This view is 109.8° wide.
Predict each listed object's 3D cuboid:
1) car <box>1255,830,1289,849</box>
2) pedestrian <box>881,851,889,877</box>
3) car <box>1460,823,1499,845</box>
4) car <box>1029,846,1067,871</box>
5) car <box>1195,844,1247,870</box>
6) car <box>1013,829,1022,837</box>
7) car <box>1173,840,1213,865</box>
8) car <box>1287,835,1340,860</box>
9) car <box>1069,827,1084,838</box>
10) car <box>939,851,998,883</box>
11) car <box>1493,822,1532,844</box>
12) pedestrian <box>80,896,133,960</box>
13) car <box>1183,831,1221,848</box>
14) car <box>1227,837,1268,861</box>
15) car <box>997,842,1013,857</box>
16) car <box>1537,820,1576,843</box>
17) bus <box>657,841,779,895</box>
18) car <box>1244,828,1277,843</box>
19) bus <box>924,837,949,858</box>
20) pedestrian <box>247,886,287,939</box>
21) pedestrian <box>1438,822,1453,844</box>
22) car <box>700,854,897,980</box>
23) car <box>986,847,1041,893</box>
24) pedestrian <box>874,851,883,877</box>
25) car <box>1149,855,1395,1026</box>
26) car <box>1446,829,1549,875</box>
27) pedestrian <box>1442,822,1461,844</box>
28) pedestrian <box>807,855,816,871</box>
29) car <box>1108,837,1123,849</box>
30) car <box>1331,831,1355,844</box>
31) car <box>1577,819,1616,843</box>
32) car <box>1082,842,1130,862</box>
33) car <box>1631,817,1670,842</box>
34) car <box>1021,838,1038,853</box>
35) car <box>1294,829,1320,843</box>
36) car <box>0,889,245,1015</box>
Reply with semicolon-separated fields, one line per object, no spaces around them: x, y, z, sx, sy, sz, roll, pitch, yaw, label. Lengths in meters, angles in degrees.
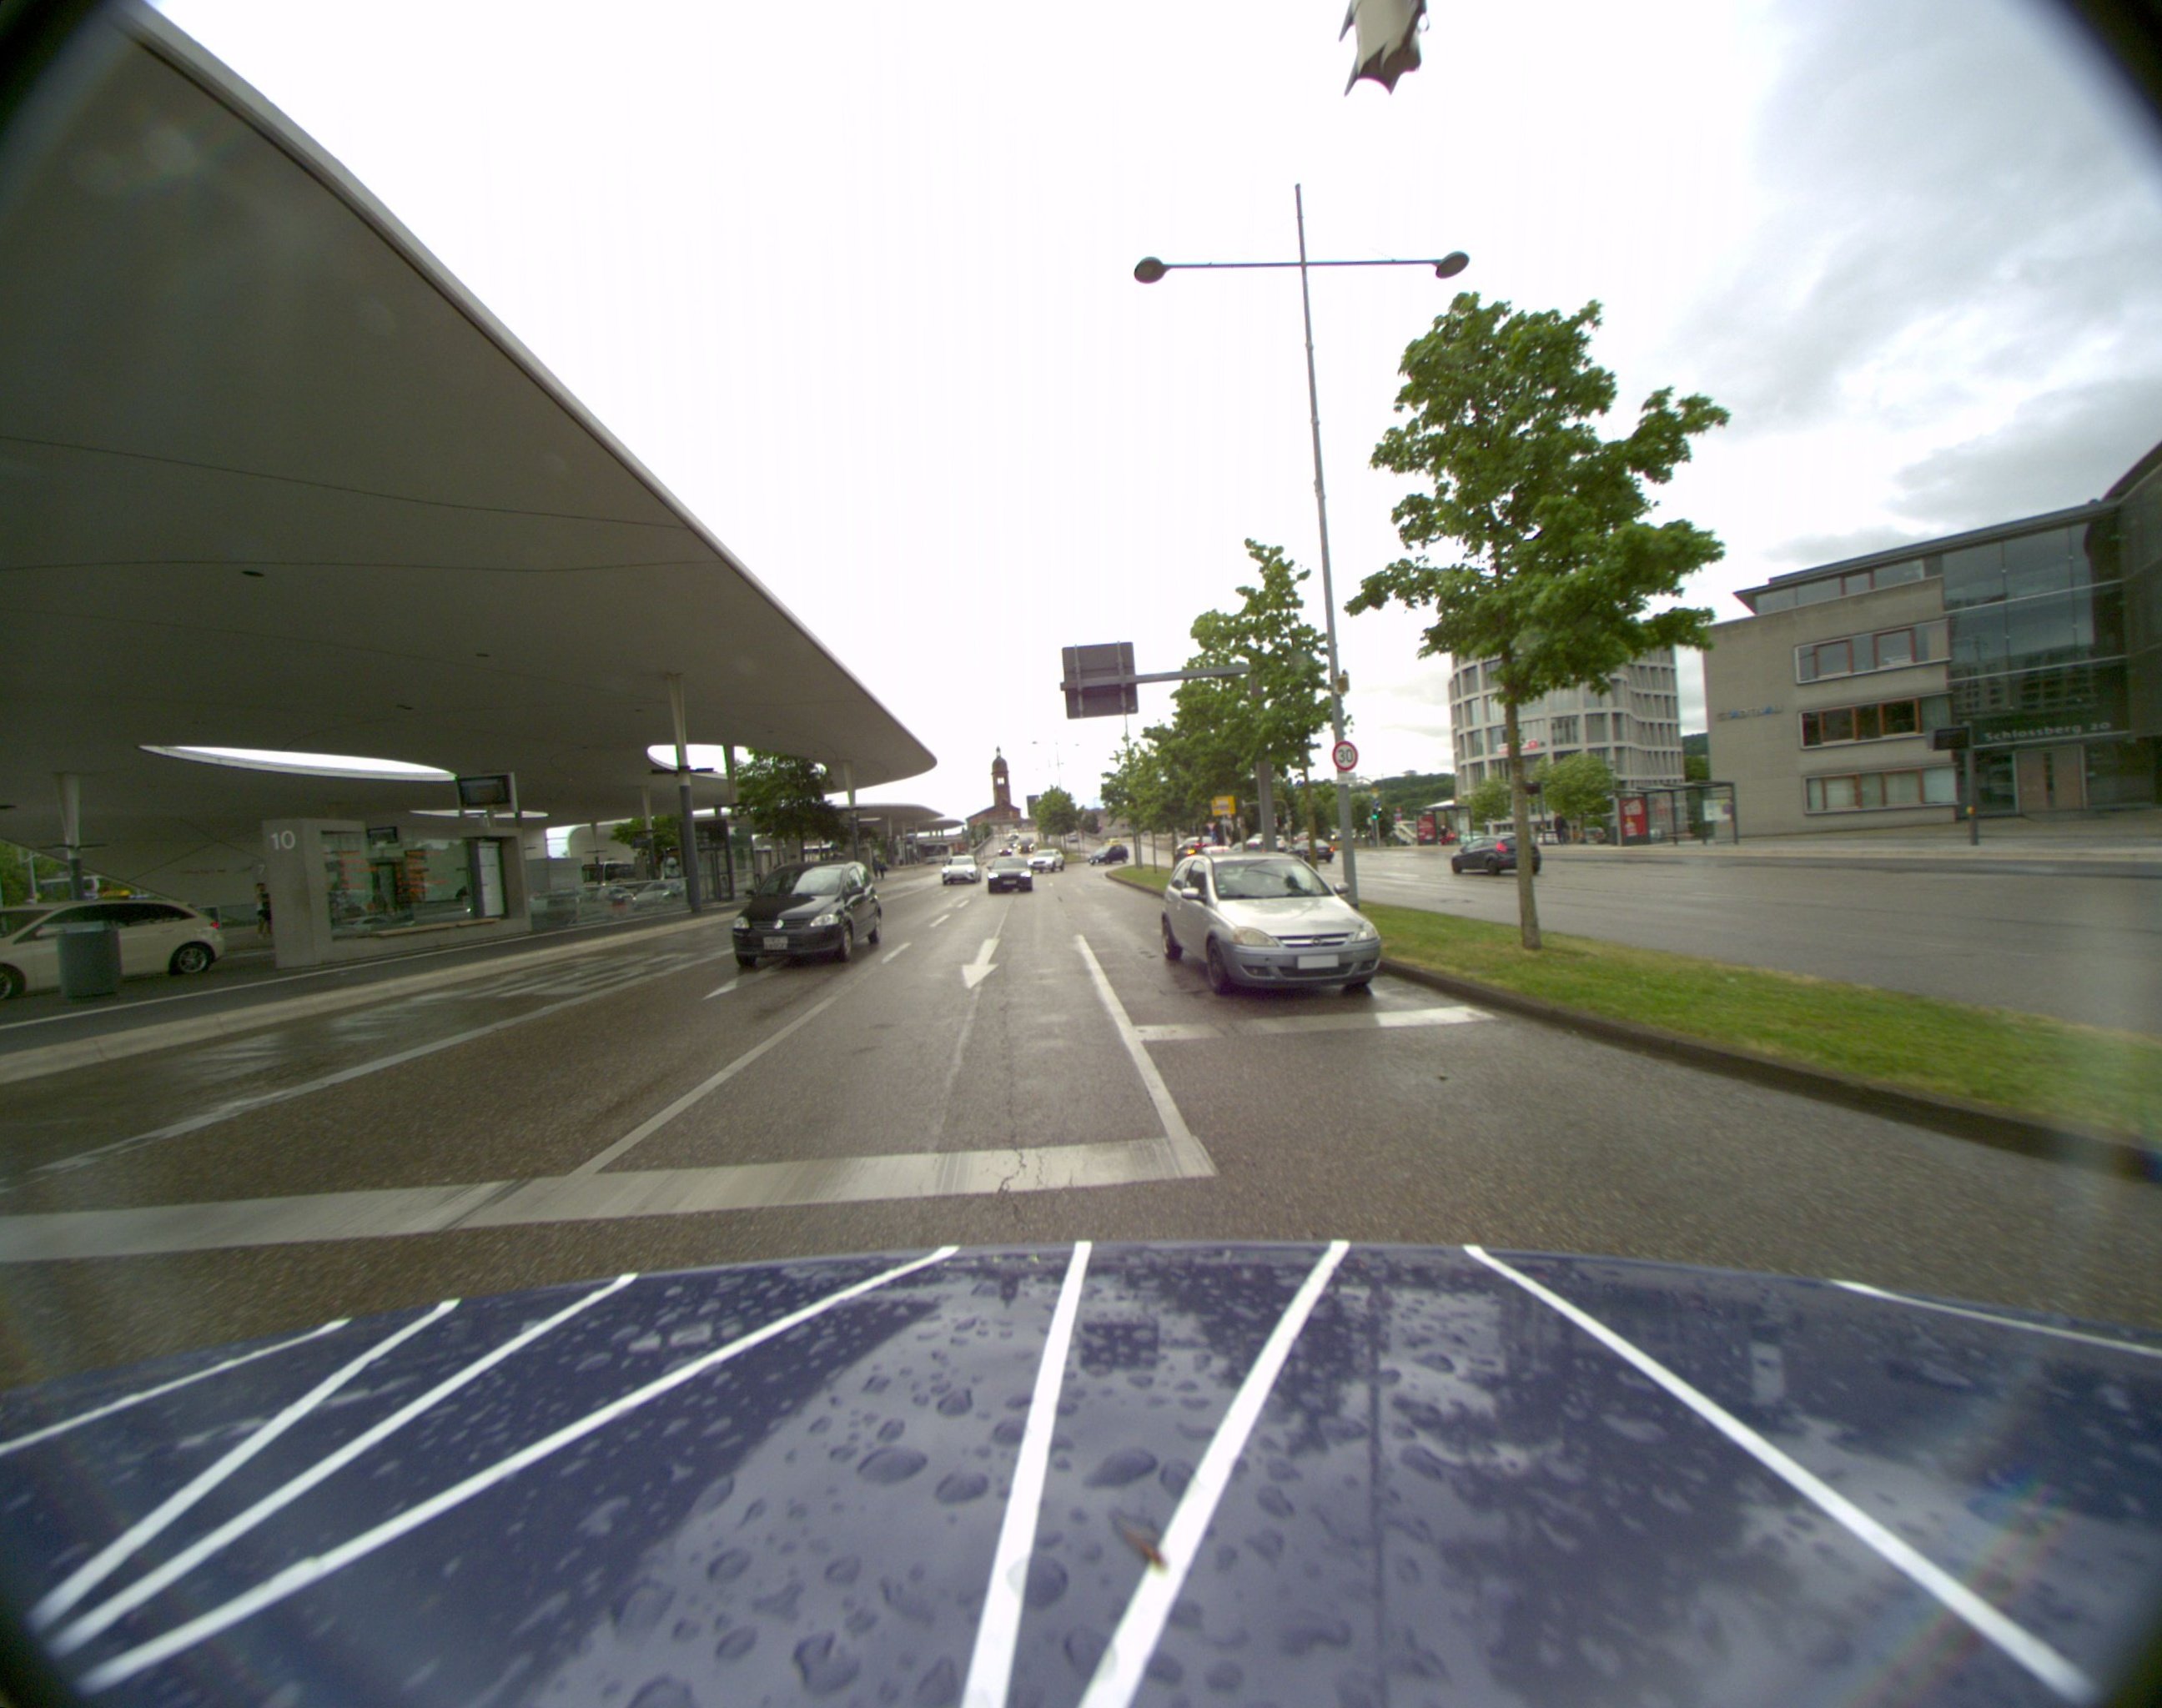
16.889;-1.276;67.462;1.960;1.609;4.207;-2;1;0;car
-13.442;0.649;52.153;0.446;1.754;0.536;-3;1;-17;pedestrian
33.134;-1.686;63.176;1.871;1.692;4.165;-1;2;42;car
-2.360;0.310;55.353;1.874;1.625;4.303;-2;1;9;car
7.927;0.146;43.342;2.010;1.345;4.162;-2;1;-3;car
-13.798;-4.474;164.038;1.650;1.552;3.646;-2;1;-8;car
7.458;-0.134;50.833;2.010;1.545;4.163;-2;1;0;car
14.540;-0.430;47.757;1.961;1.414;3.998;-2;1;-2;car
-0.811;-3.771;133.926;1.877;1.625;4.153;-3;1;-9;car
-6.199;0.688;42.307;1.809;1.550;4.052;-2;1;13;car
34.937;-1.715;61.433;1.871;1.692;4.165;-1;2;42;car
-24.084;1.812;18.783;0.479;1.505;0.535;-3;1;1;pedestrian
12.817;-1.545;80.411;1.871;1.625;4.165;-1;2;43;car
11.164;-0.352;51.131;1.699;1.457;4.450;-2;1;0;car
-10.730;-0.705;107.677;1.999;2.002;3.998;-2;1;-4;car
37.221;-1.769;59.409;1.872;1.692;4.165;-2;1;42;car
-23.859;0.749;50.992;2.877;3.065;11.916;-2;1;-3;bus
21.195;-2.175;89.696;1.871;1.625;4.293;-1;2;43;car
-23.306;-1.045;122.184;3.585;3.080;10.742;-3;1;-12;bus
-24.332;1.741;22.717;0.479;1.505;0.535;-3;1;1;pedestrian
25.597;-1.460;53.363;0.733;1.482;0.734;-2;2;5;pedestrian
-4.417;0.878;12.641;1.876;1.692;4.156;-2;0;-3;car
-2.742;0.598;31.646;1.875;1.692;4.156;-2;1;0;car
-13.875;0.664;52.064;0.445;1.754;0.537;-3;1;-10;pedestrian
1.964;0.809;8.961;1.699;1.457;3.718;-2;1;-4;car
15.285;-0.112;28.127;1.681;1.504;3.862;-2;1;0;car
25.516;-1.436;52.344;0.983;1.482;0.734;-2;2;7;pedestrian
-35.328;1.190;99.711;1.026;2.002;0.878;-3;2;-23;pedestrian
5.004;-1.534;110.350;1.876;1.625;4.156;-3;1;-1;car
37.730;-2.409;109.356;1.889;1.704;4.225;-1;2;37;car
39.312;-1.800;57.949;1.871;1.692;4.165;-1;2;42;car
2.230;-0.176;66.752;1.871;1.625;4.165;-1;2;43;car
41.602;-1.830;55.455;1.871;1.692;4.165;-1;2;42;car
-7.517;-1.279;110.625;2.000;2.002;3.996;-2;1;-8;car
29.042;-2.320;97.634;1.872;1.625;4.165;-2;1;37;car
-17.372;1.603;12.619;1.999;1.671;4.539;-2;1;-3;car
